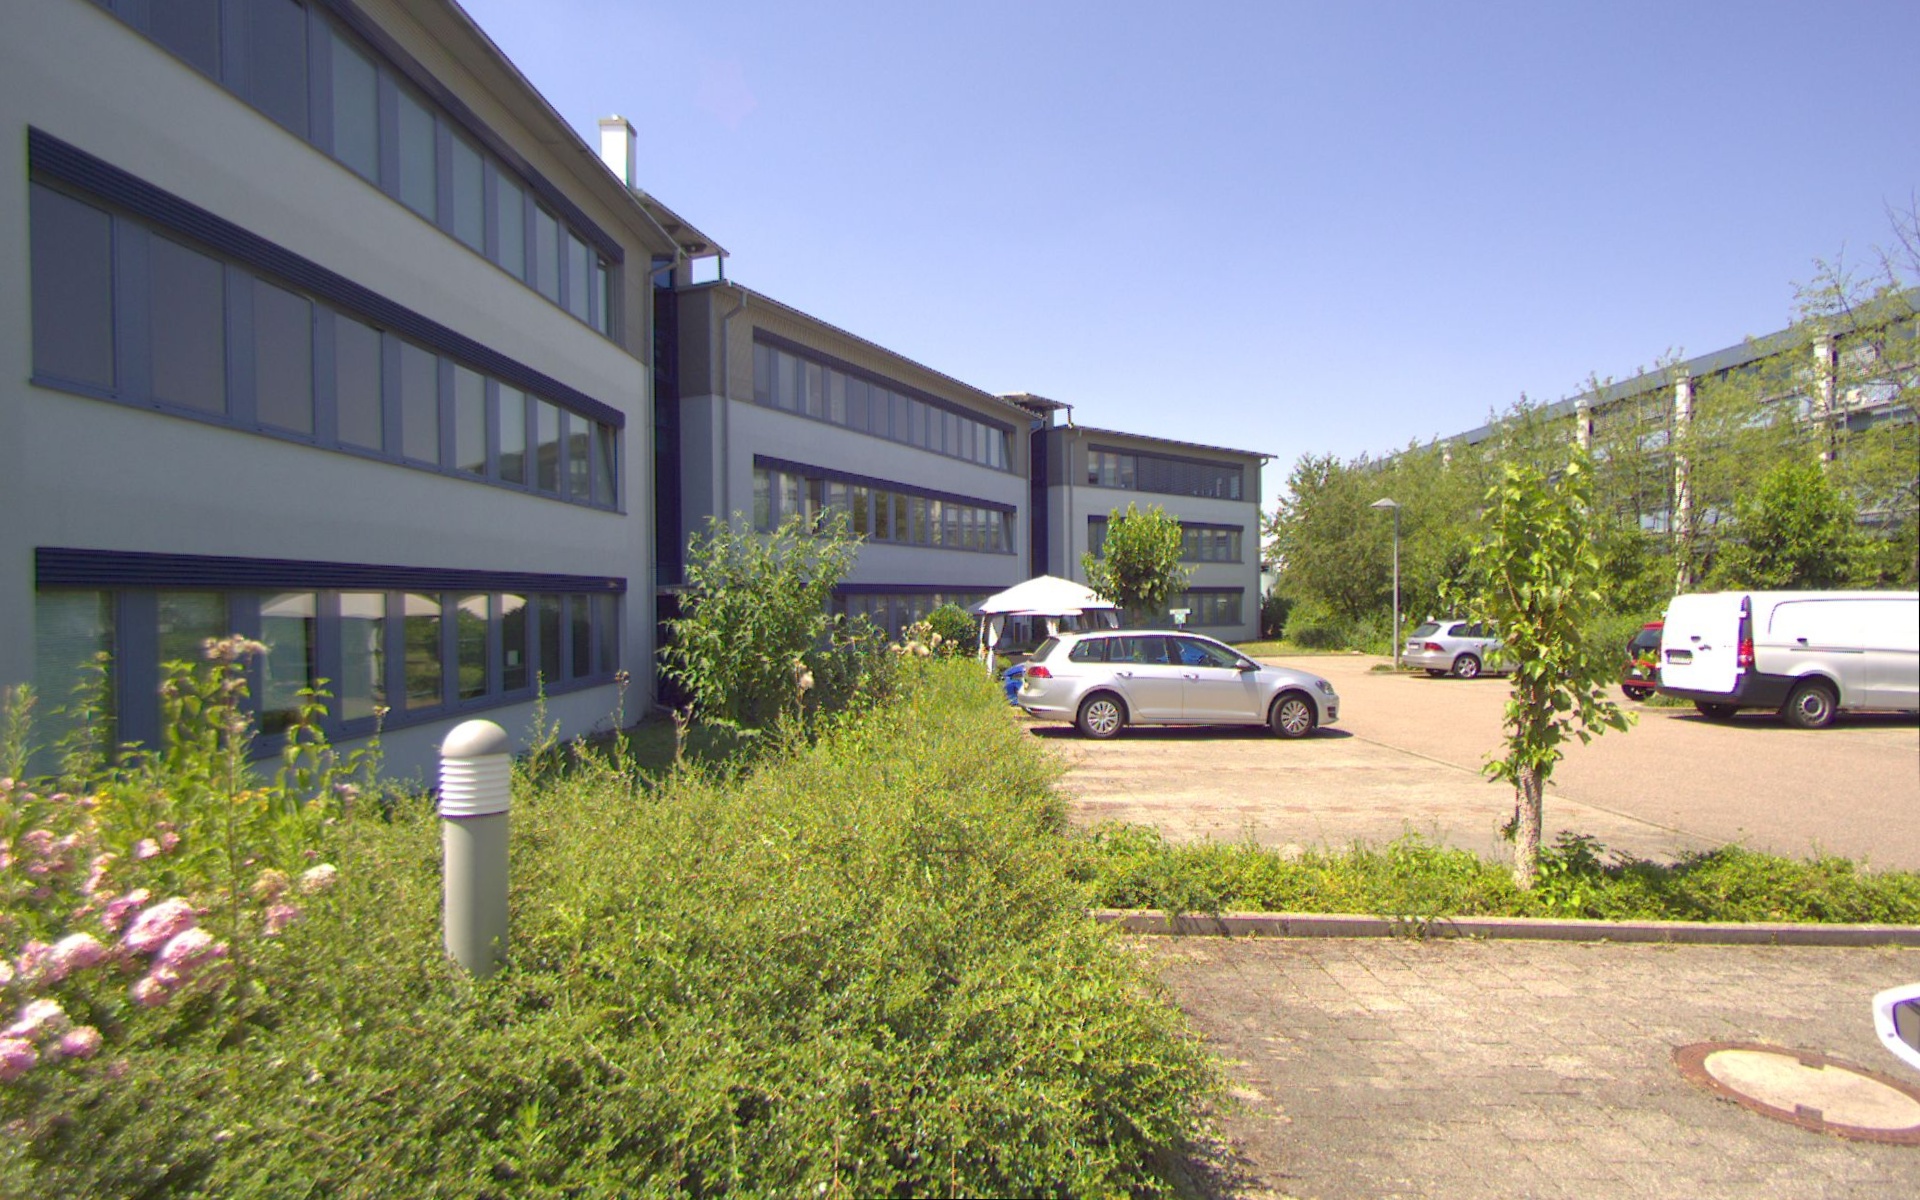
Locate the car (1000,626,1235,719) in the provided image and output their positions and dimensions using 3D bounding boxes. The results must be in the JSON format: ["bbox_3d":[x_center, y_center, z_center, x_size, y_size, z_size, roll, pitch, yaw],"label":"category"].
[{"bbox_3d":[2.704,1.261,18.010,3.920,1.481,2.001,-1,-1,2],"label":"car"}]

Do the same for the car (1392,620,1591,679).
[{"bbox_3d":[13.517,1.234,25.727,4.087,1.425,1.874,0,0,2],"label":"car"}]

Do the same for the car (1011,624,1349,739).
[{"bbox_3d":[2.981,1.098,14.288,4.396,1.492,1.863,0,-1,-2],"label":"car"}]

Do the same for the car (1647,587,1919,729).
[{"bbox_3d":[13.009,0.792,14.624,4.708,1.916,1.888,-1,-1,0],"label":"car"}]

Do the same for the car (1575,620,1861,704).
[{"bbox_3d":[13.933,1.115,18.638,3.920,1.460,1.788,0,-1,1],"label":"car"}]
